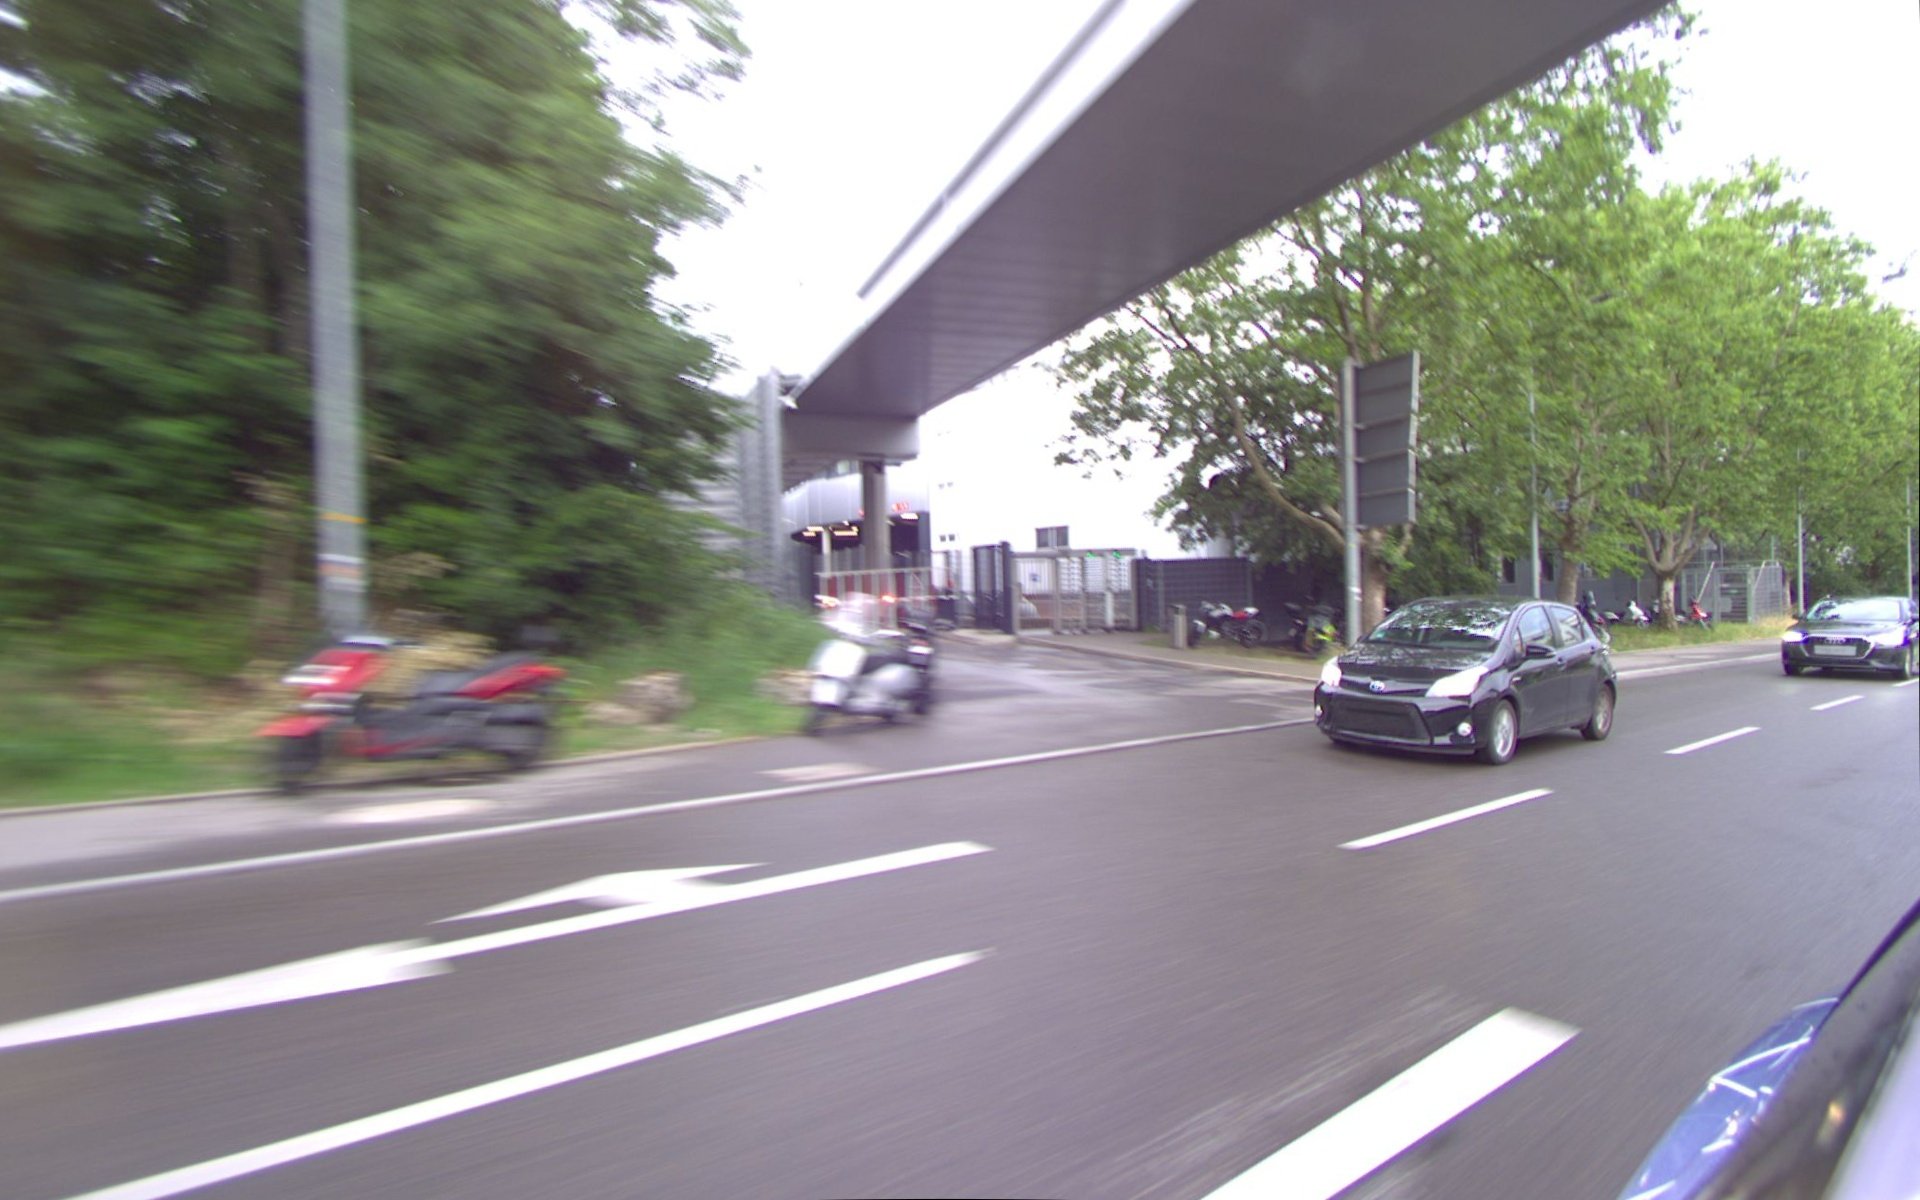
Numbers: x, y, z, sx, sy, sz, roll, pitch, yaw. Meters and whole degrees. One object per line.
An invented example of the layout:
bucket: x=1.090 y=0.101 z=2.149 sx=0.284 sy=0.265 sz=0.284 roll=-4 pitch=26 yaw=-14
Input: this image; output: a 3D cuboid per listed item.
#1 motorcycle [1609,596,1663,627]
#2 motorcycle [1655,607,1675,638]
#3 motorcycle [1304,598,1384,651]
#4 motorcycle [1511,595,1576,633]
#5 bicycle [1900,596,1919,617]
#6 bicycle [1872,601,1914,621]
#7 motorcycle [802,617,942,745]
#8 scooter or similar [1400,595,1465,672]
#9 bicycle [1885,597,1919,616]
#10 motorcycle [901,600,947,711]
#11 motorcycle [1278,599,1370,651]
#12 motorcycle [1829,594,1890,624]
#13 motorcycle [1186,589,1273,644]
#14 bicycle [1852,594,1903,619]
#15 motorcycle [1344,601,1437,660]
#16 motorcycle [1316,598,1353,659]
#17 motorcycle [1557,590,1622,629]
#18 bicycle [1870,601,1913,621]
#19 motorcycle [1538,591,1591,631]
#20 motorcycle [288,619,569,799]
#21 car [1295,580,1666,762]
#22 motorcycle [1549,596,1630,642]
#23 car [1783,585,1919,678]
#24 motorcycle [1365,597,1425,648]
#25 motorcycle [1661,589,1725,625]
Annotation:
motorcycle: x=26.422 y=0.469 z=39.588 sx=0.548 sy=1.160 sz=1.646 roll=-1 pitch=-1 yaw=-27
motorcycle: x=27.956 y=0.891 z=40.151 sx=0.474 sy=1.160 sz=1.876 roll=-3 pitch=-1 yaw=31
motorcycle: x=9.495 y=0.600 z=25.026 sx=1.816 sy=1.295 sz=0.522 roll=0 pitch=0 yaw=-7
motorcycle: x=20.099 y=0.485 z=34.894 sx=0.482 sy=1.274 sz=1.921 roll=-1 pitch=-1 yaw=-32
bicycle: x=49.430 y=0.340 z=52.054 sx=0.386 sy=1.018 sz=1.555 roll=0 pitch=1 yaw=-38
bicycle: x=47.507 y=0.551 z=51.539 sx=0.386 sy=0.970 sz=1.555 roll=0 pitch=1 yaw=-38
motorcycle: x=-0.920 y=0.830 z=11.082 sx=0.467 sy=1.228 sz=1.922 roll=0 pitch=1 yaw=32
scooter or similar: x=8.350 y=0.573 z=17.882 sx=1.281 sy=1.315 sz=0.313 roll=-1 pitch=0 yaw=-27
bicycle: x=50.343 y=0.332 z=53.850 sx=0.380 sy=0.951 sz=1.611 roll=0 pitch=1 yaw=-38
motorcycle: x=-0.493 y=0.673 z=13.180 sx=0.536 sy=1.314 sz=1.946 roll=0 pitch=1 yaw=-4
motorcycle: x=9.396 y=0.631 z=26.135 sx=2.234 sy=1.295 sz=0.522 roll=0 pitch=0 yaw=-7
motorcycle: x=40.195 y=0.372 z=45.250 sx=0.432 sy=1.289 sz=2.019 roll=0 pitch=1 yaw=-26
motorcycle: x=6.390 y=0.388 z=24.022 sx=2.028 sy=1.295 sz=0.350 roll=0 pitch=0 yaw=-10
bicycle: x=44.328 y=0.298 z=48.919 sx=0.440 sy=1.182 sz=1.789 roll=0 pitch=1 yaw=-44
motorcycle: x=9.701 y=0.663 z=22.840 sx=1.843 sy=1.269 sz=0.621 roll=0 pitch=0 yaw=37
motorcycle: x=8.161 y=0.598 z=22.091 sx=0.621 sy=1.268 sz=1.845 roll=0 pitch=0 yaw=16
motorcycle: x=23.116 y=0.359 z=37.199 sx=0.498 sy=1.382 sz=1.929 roll=-1 pitch=-1 yaw=-43
bicycle: x=47.182 y=0.558 z=51.291 sx=0.386 sy=0.970 sz=1.555 roll=0 pitch=1 yaw=-38
motorcycle: x=21.573 y=0.397 z=36.105 sx=0.498 sy=1.382 sz=1.499 roll=-1 pitch=-2 yaw=-43
motorcycle: x=-3.872 y=0.735 z=7.473 sx=1.786 sy=1.151 sz=0.470 roll=0 pitch=0 yaw=-39
car: x=5.588 y=0.578 z=10.601 sx=4.557 sy=1.488 sz=1.748 roll=-1 pitch=0 yaw=-39
motorcycle: x=17.111 y=0.490 z=27.521 sx=1.843 sy=1.206 sz=0.515 roll=0 pitch=0 yaw=37
car: x=18.118 y=0.511 z=19.957 sx=5.508 sy=1.564 sz=1.819 roll=-1 pitch=0 yaw=-39
motorcycle: x=11.633 y=0.577 z=27.012 sx=1.955 sy=1.295 sz=0.647 roll=-1 pitch=0 yaw=-39
motorcycle: x=24.552 y=0.246 z=33.922 sx=0.483 sy=1.165 sz=1.659 roll=-1 pitch=-1 yaw=-30
